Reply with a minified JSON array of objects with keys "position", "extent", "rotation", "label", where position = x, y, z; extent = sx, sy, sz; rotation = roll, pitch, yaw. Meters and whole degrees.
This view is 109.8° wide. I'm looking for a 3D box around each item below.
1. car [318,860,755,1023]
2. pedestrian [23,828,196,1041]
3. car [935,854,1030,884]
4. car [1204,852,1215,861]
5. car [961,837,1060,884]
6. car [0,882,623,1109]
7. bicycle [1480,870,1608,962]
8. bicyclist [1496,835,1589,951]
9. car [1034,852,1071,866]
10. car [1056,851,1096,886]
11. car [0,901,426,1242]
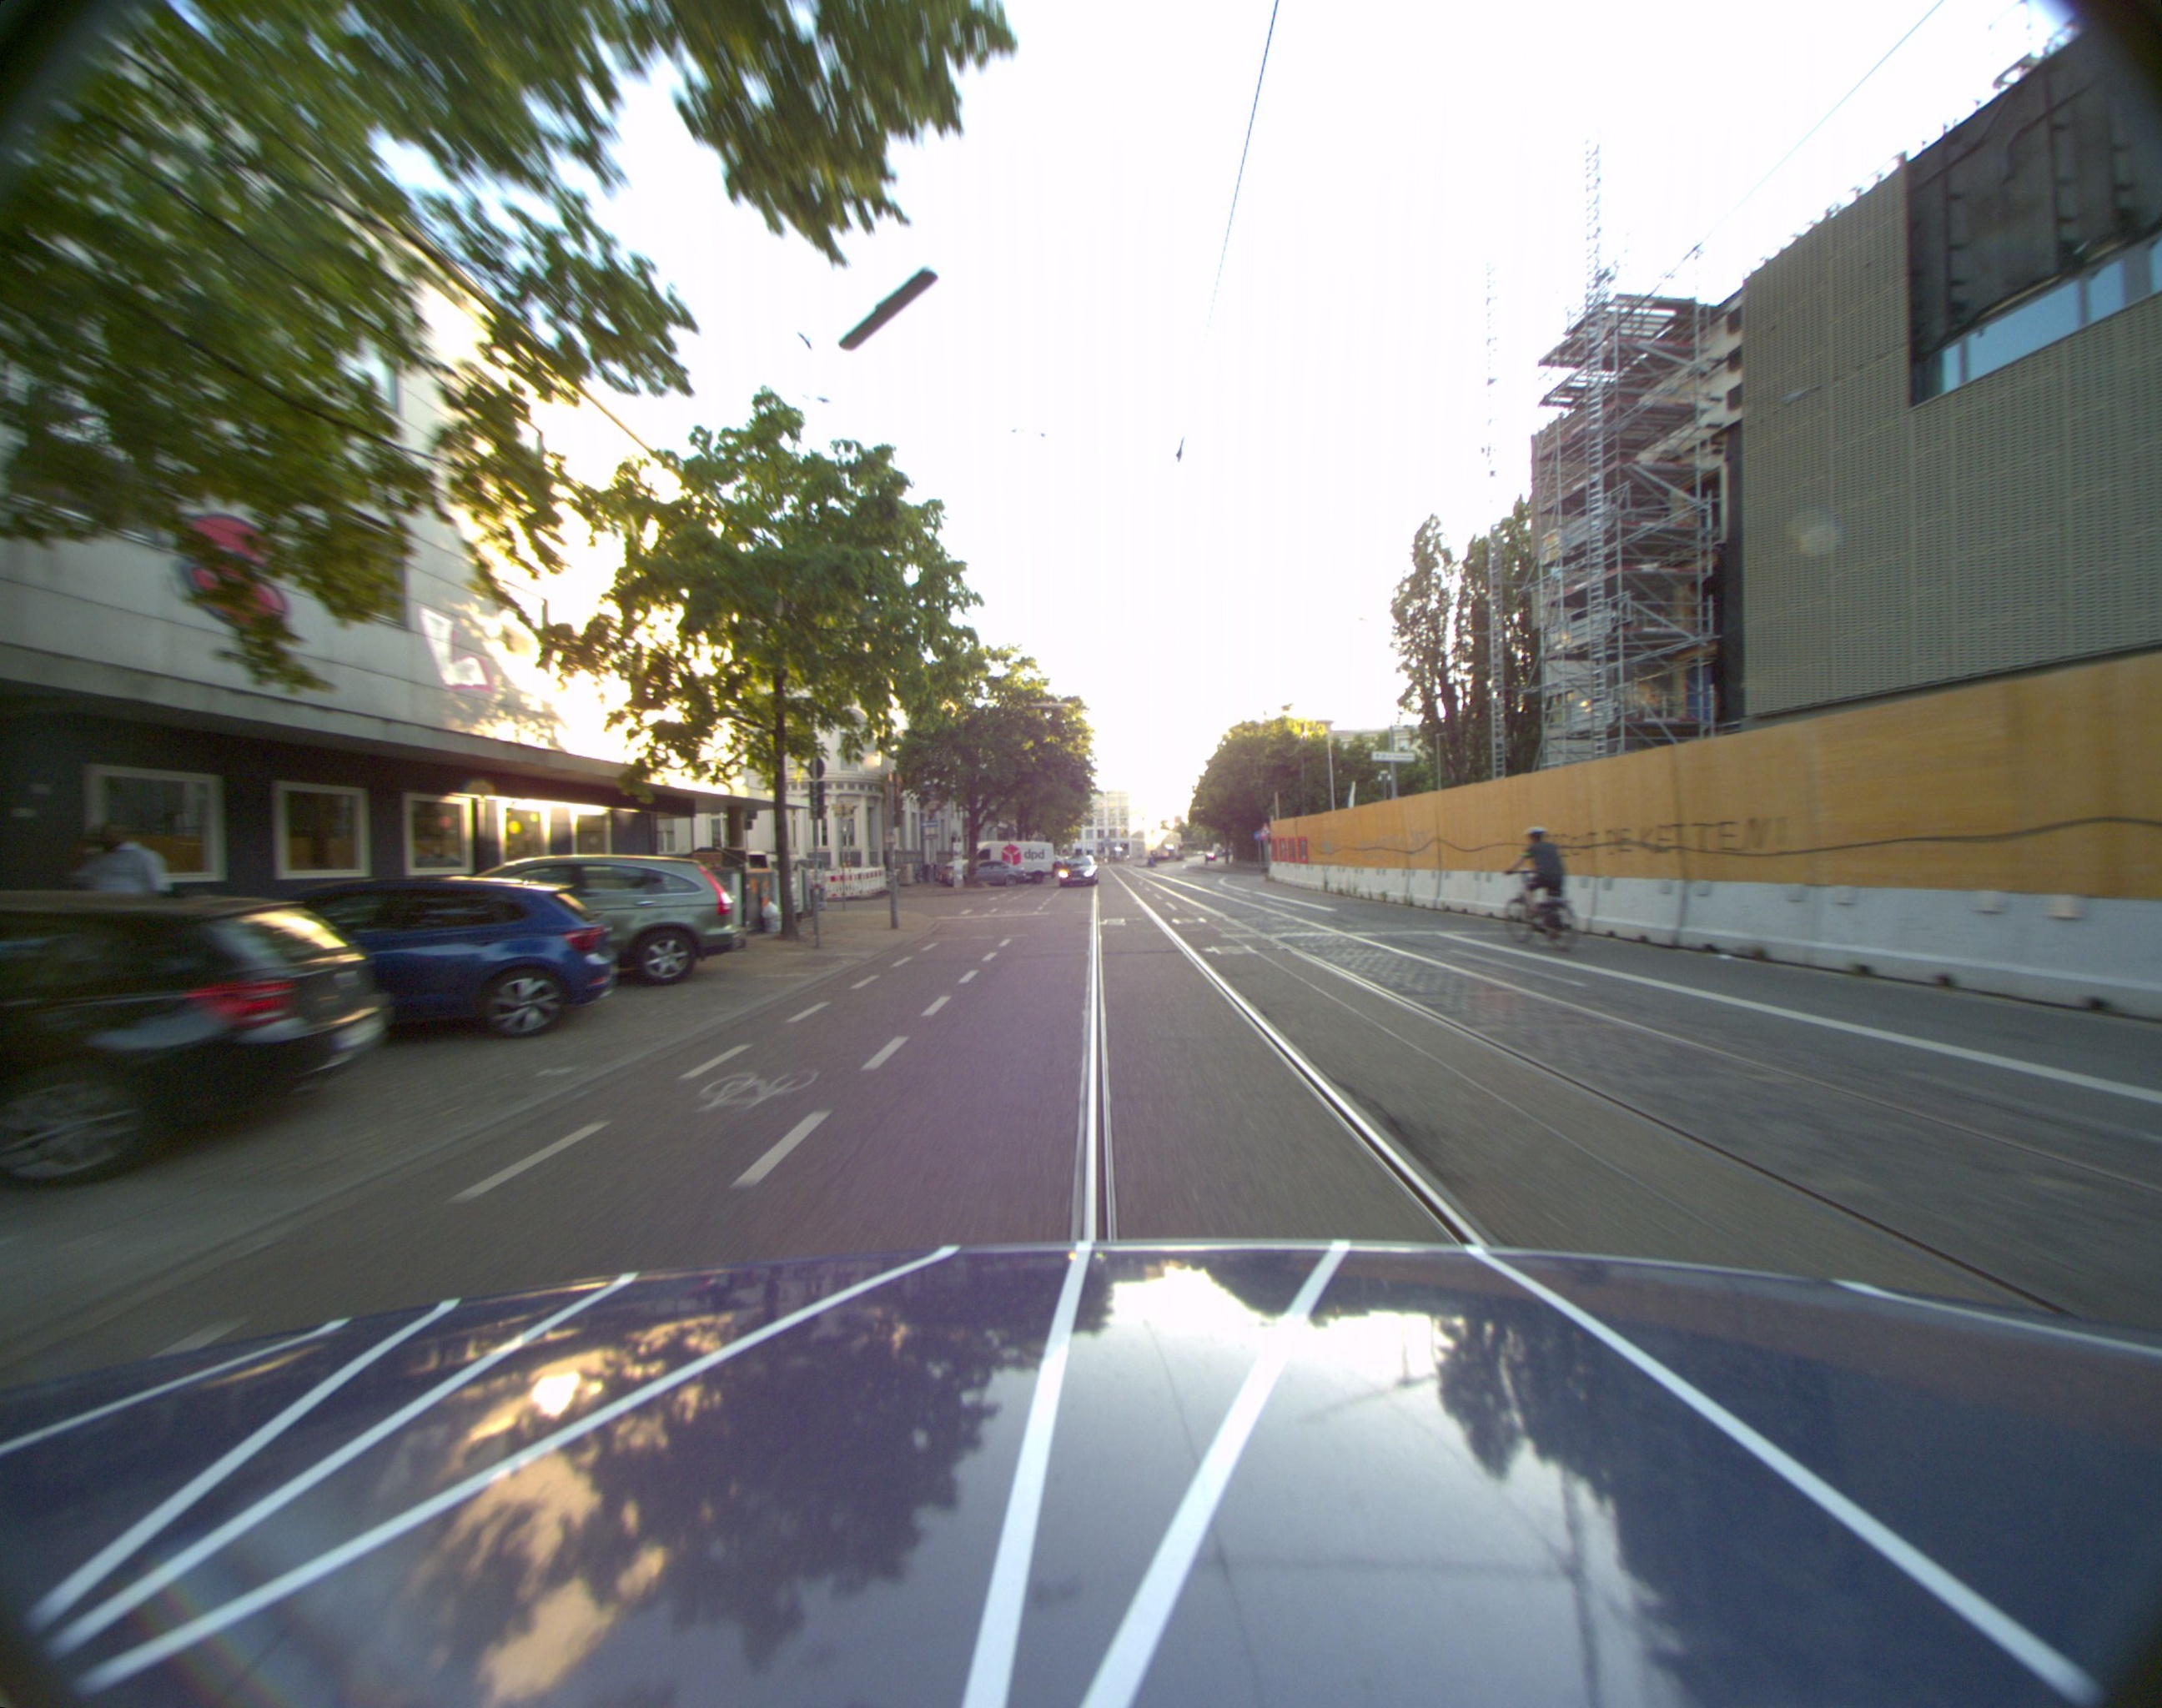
[{"position":[-6.593,0.945,9.728],"extent":[4.176,1.654,1.837],"rotation":[1,0,-33],"label":"car"},{"position":[-9.517,0.749,7.479],"extent":[0.693,1.974,0.786],"rotation":[1,1,1],"label":"pedestrian"},{"position":[-5.152,0.817,39.868],"extent":[4.614,1.504,1.859],"rotation":[1,-1,-26],"label":"car"},{"position":[25.857,0.552,152.666],"extent":[1.997,1.674,4.003],"rotation":[-1,0,11],"label":"car"},{"position":[-4.259,0.334,46.490],"extent":[5.650,2.678,2.166],"rotation":[-1,0,-33],"label":"car"},{"position":[-6.438,1.034,6.826],"extent":[3.901,1.493,1.809],"rotation":[1,0,-29],"label":"car"},{"position":[6.948,0.881,11.525],"extent":[0.770,1.221,1.936],"rotation":[-1,0,1],"label":"bicycle"},{"position":[6.940,0.558,11.478],"extent":[0.770,1.656,1.018],"rotation":[-1,1,1],"label":"bicyclist"},{"position":[-3.558,0.651,94.889],"extent":[4.217,1.600,1.740],"rotation":[-2,1,-28],"label":"car"},{"position":[-0.221,0.742,40.451],"extent":[1.840,1.631,4.169],"rotation":[-5,0,2],"label":"car"},{"position":[-6.416,1.055,3.955],"extent":[4.174,1.456,1.967],"rotation":[1,0,-27],"label":"car"}]
